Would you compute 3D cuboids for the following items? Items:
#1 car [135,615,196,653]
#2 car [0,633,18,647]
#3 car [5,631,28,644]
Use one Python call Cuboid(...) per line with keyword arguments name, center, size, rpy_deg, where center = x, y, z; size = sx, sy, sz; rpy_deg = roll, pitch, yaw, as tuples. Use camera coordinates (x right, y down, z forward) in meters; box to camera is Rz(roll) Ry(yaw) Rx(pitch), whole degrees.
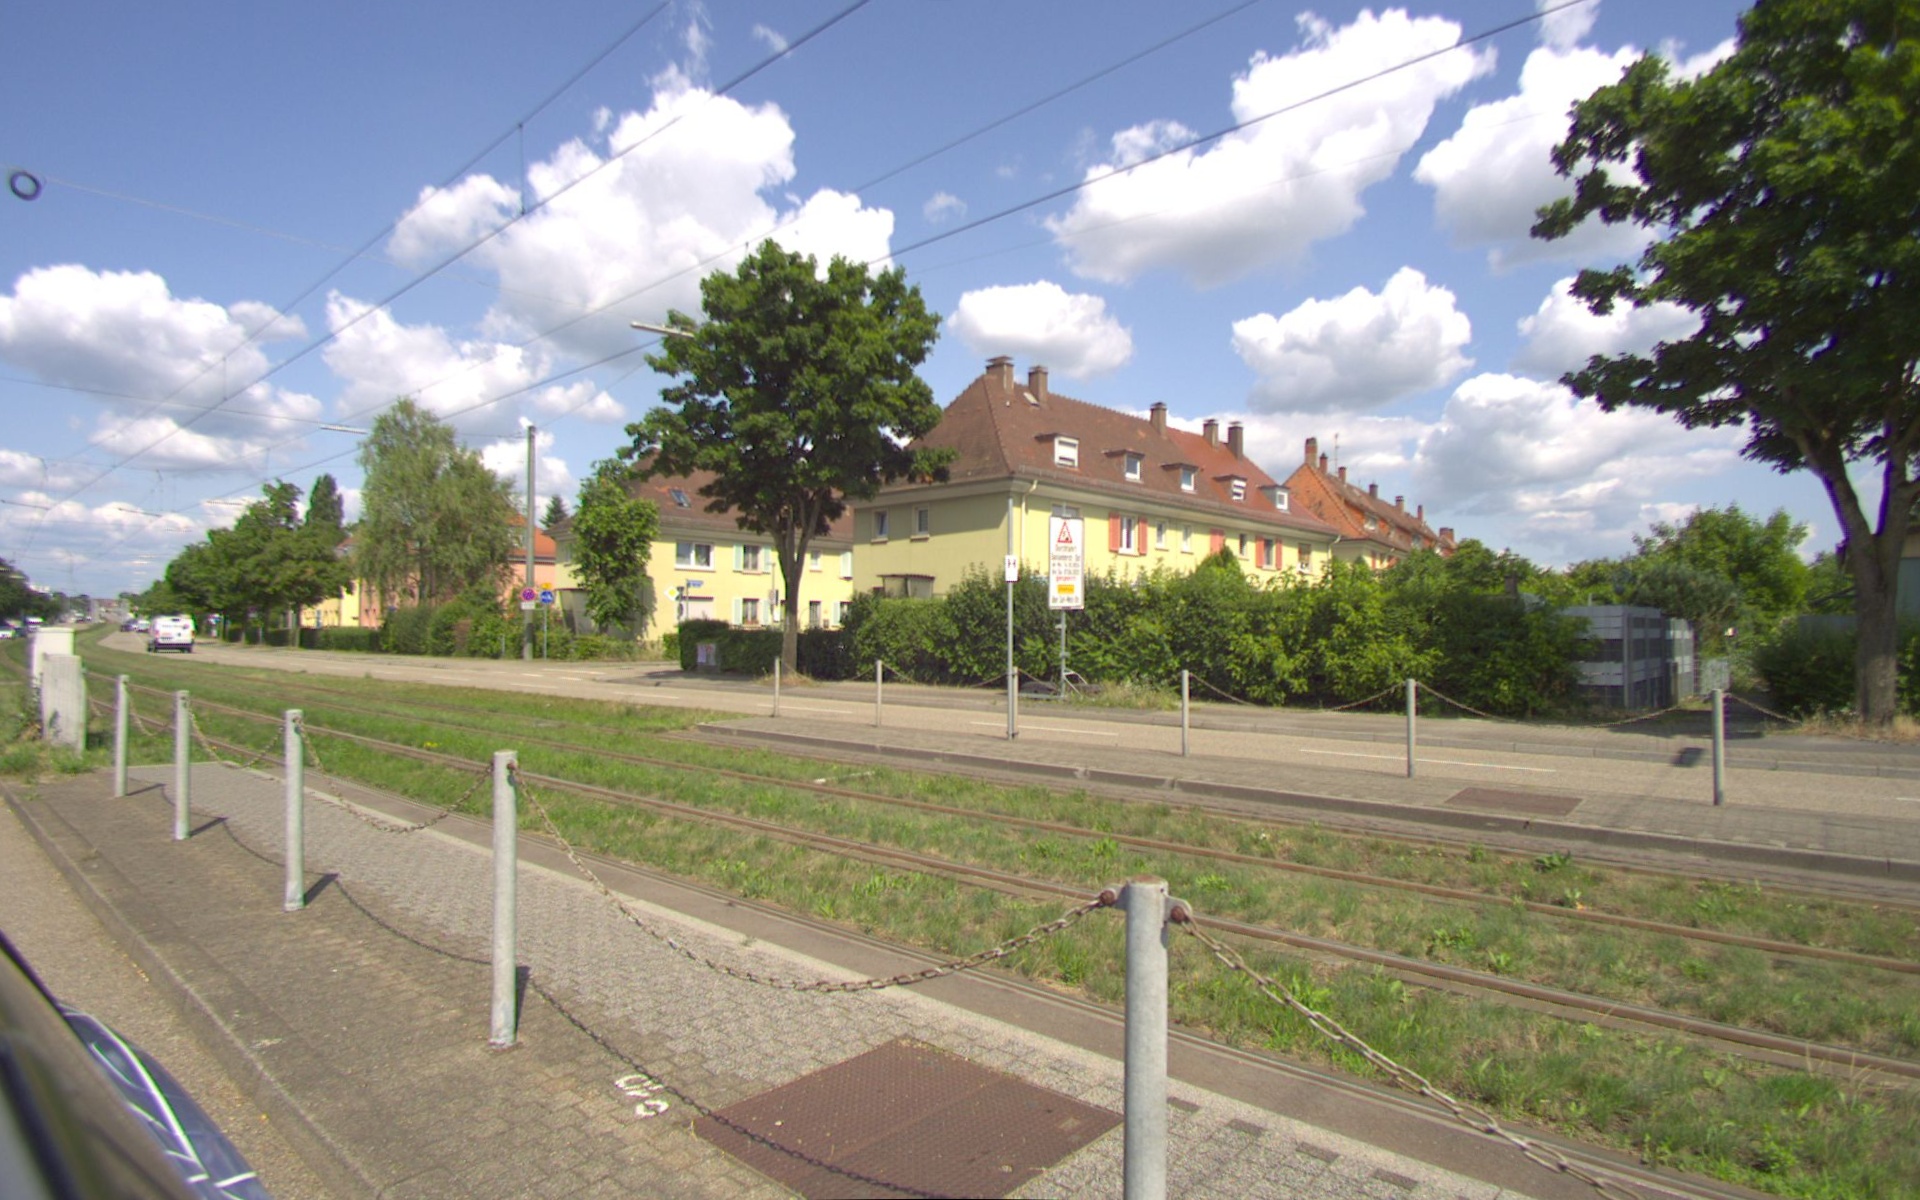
Cuboid(name="car", center=(-52.285, 2.237, 66.587), size=(5.331, 2.390, 2.173), rpy_deg=(-1, -4, 42))
Cuboid(name="car", center=(-108.546, 4.536, 115.044), size=(1.969, 1.497, 4.005), rpy_deg=(0, -1, -42))
Cuboid(name="car", center=(-119.054, 4.762, 127.709), size=(1.969, 1.497, 4.005), rpy_deg=(0, -1, -42))
